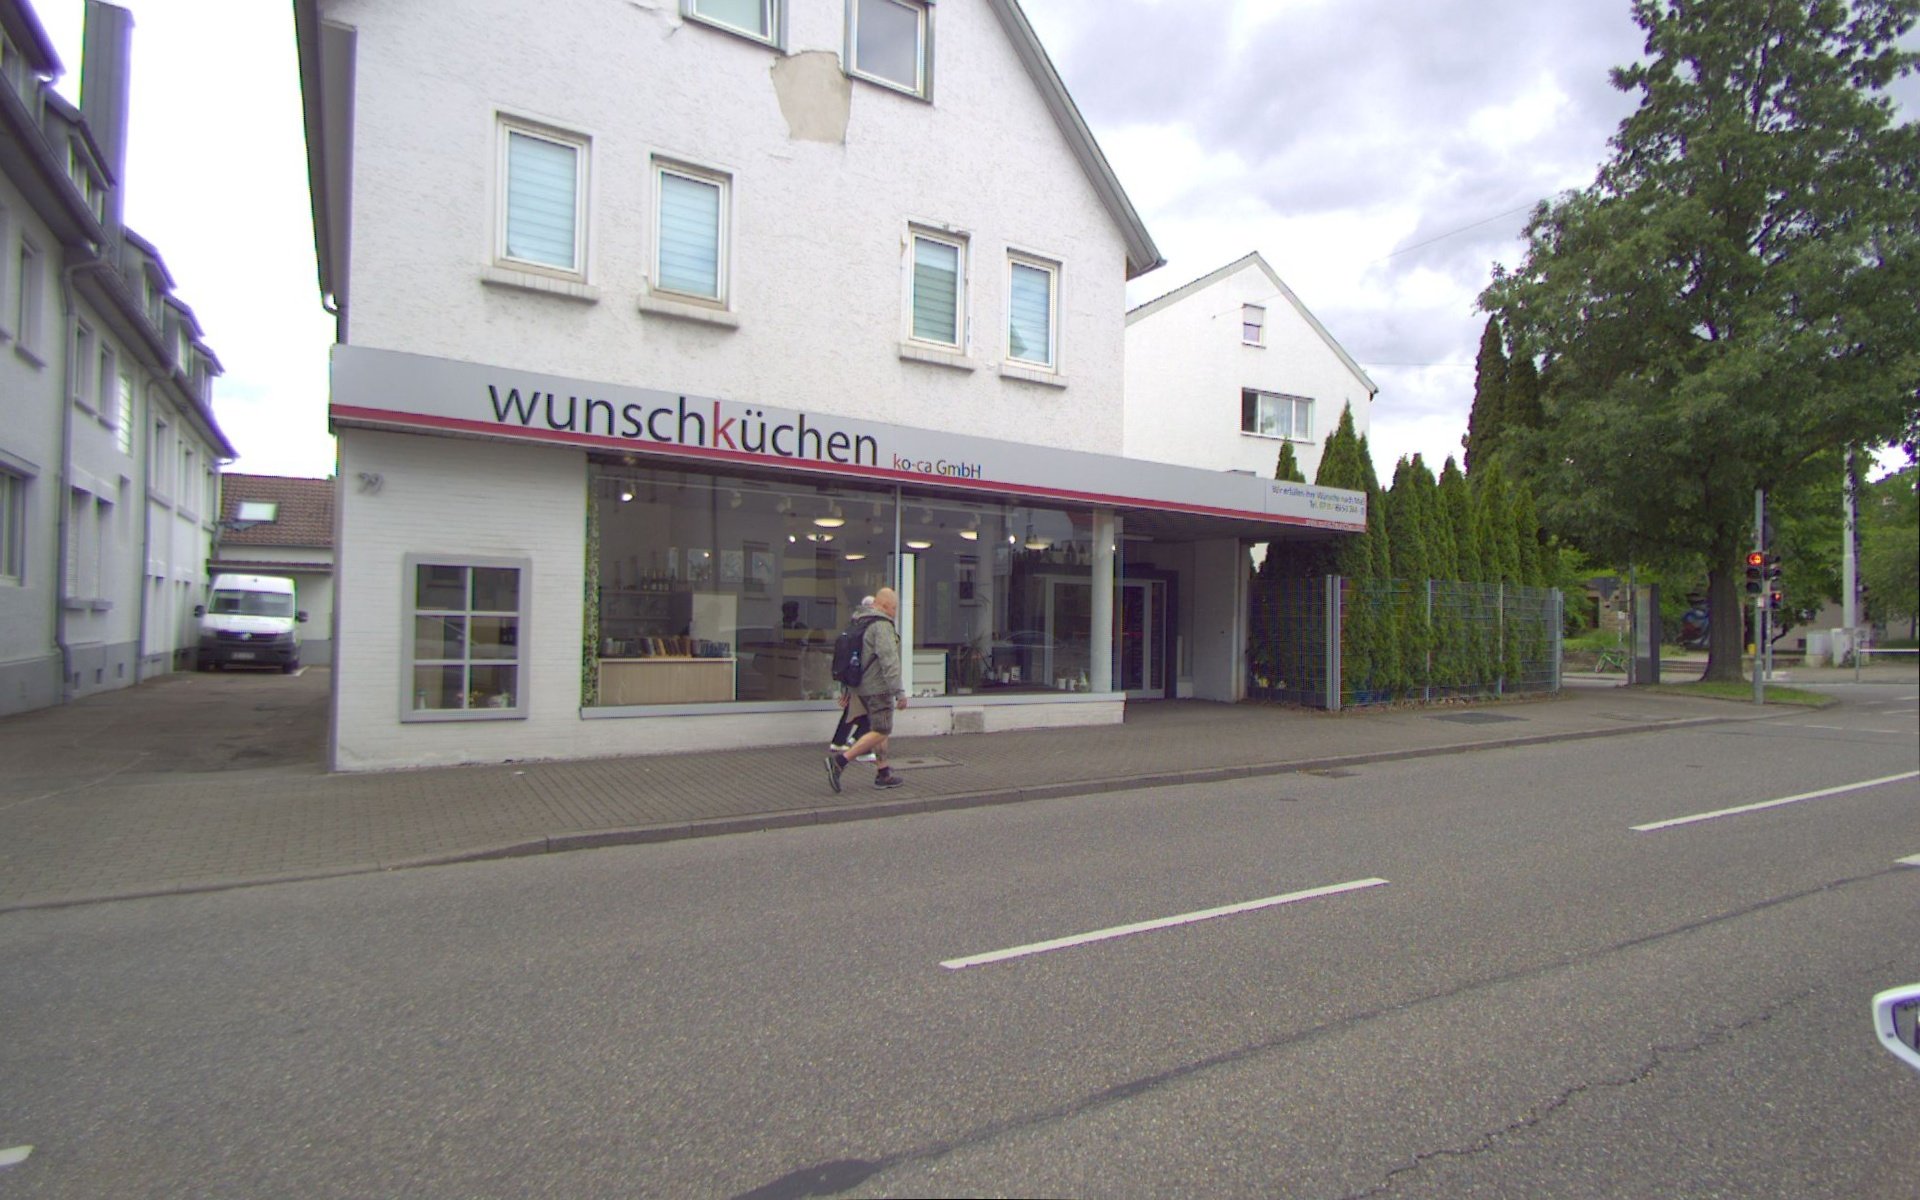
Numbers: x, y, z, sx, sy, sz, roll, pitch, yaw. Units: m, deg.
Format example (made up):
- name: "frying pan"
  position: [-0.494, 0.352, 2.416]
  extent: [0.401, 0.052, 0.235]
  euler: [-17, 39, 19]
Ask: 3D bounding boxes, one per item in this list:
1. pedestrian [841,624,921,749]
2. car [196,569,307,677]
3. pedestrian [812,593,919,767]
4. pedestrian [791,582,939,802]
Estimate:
- name: "pedestrian"
  position: [-0.870, 0.922, 11.025]
  extent: [0.647, 1.297, 0.596]
  euler: [1, 1, -31]
- name: "car"
  position: [-19.064, 0.581, 27.258]
  extent: [1.938, 2.541, 5.943]
  euler: [4, -2, -32]
- name: "pedestrian"
  position: [-0.968, 0.778, 10.167]
  extent: [0.784, 1.638, 0.747]
  euler: [1, 2, -31]
- name: "pedestrian"
  position: [-0.826, 0.747, 8.669]
  extent: [1.008, 1.767, 0.747]
  euler: [1, 1, -31]
